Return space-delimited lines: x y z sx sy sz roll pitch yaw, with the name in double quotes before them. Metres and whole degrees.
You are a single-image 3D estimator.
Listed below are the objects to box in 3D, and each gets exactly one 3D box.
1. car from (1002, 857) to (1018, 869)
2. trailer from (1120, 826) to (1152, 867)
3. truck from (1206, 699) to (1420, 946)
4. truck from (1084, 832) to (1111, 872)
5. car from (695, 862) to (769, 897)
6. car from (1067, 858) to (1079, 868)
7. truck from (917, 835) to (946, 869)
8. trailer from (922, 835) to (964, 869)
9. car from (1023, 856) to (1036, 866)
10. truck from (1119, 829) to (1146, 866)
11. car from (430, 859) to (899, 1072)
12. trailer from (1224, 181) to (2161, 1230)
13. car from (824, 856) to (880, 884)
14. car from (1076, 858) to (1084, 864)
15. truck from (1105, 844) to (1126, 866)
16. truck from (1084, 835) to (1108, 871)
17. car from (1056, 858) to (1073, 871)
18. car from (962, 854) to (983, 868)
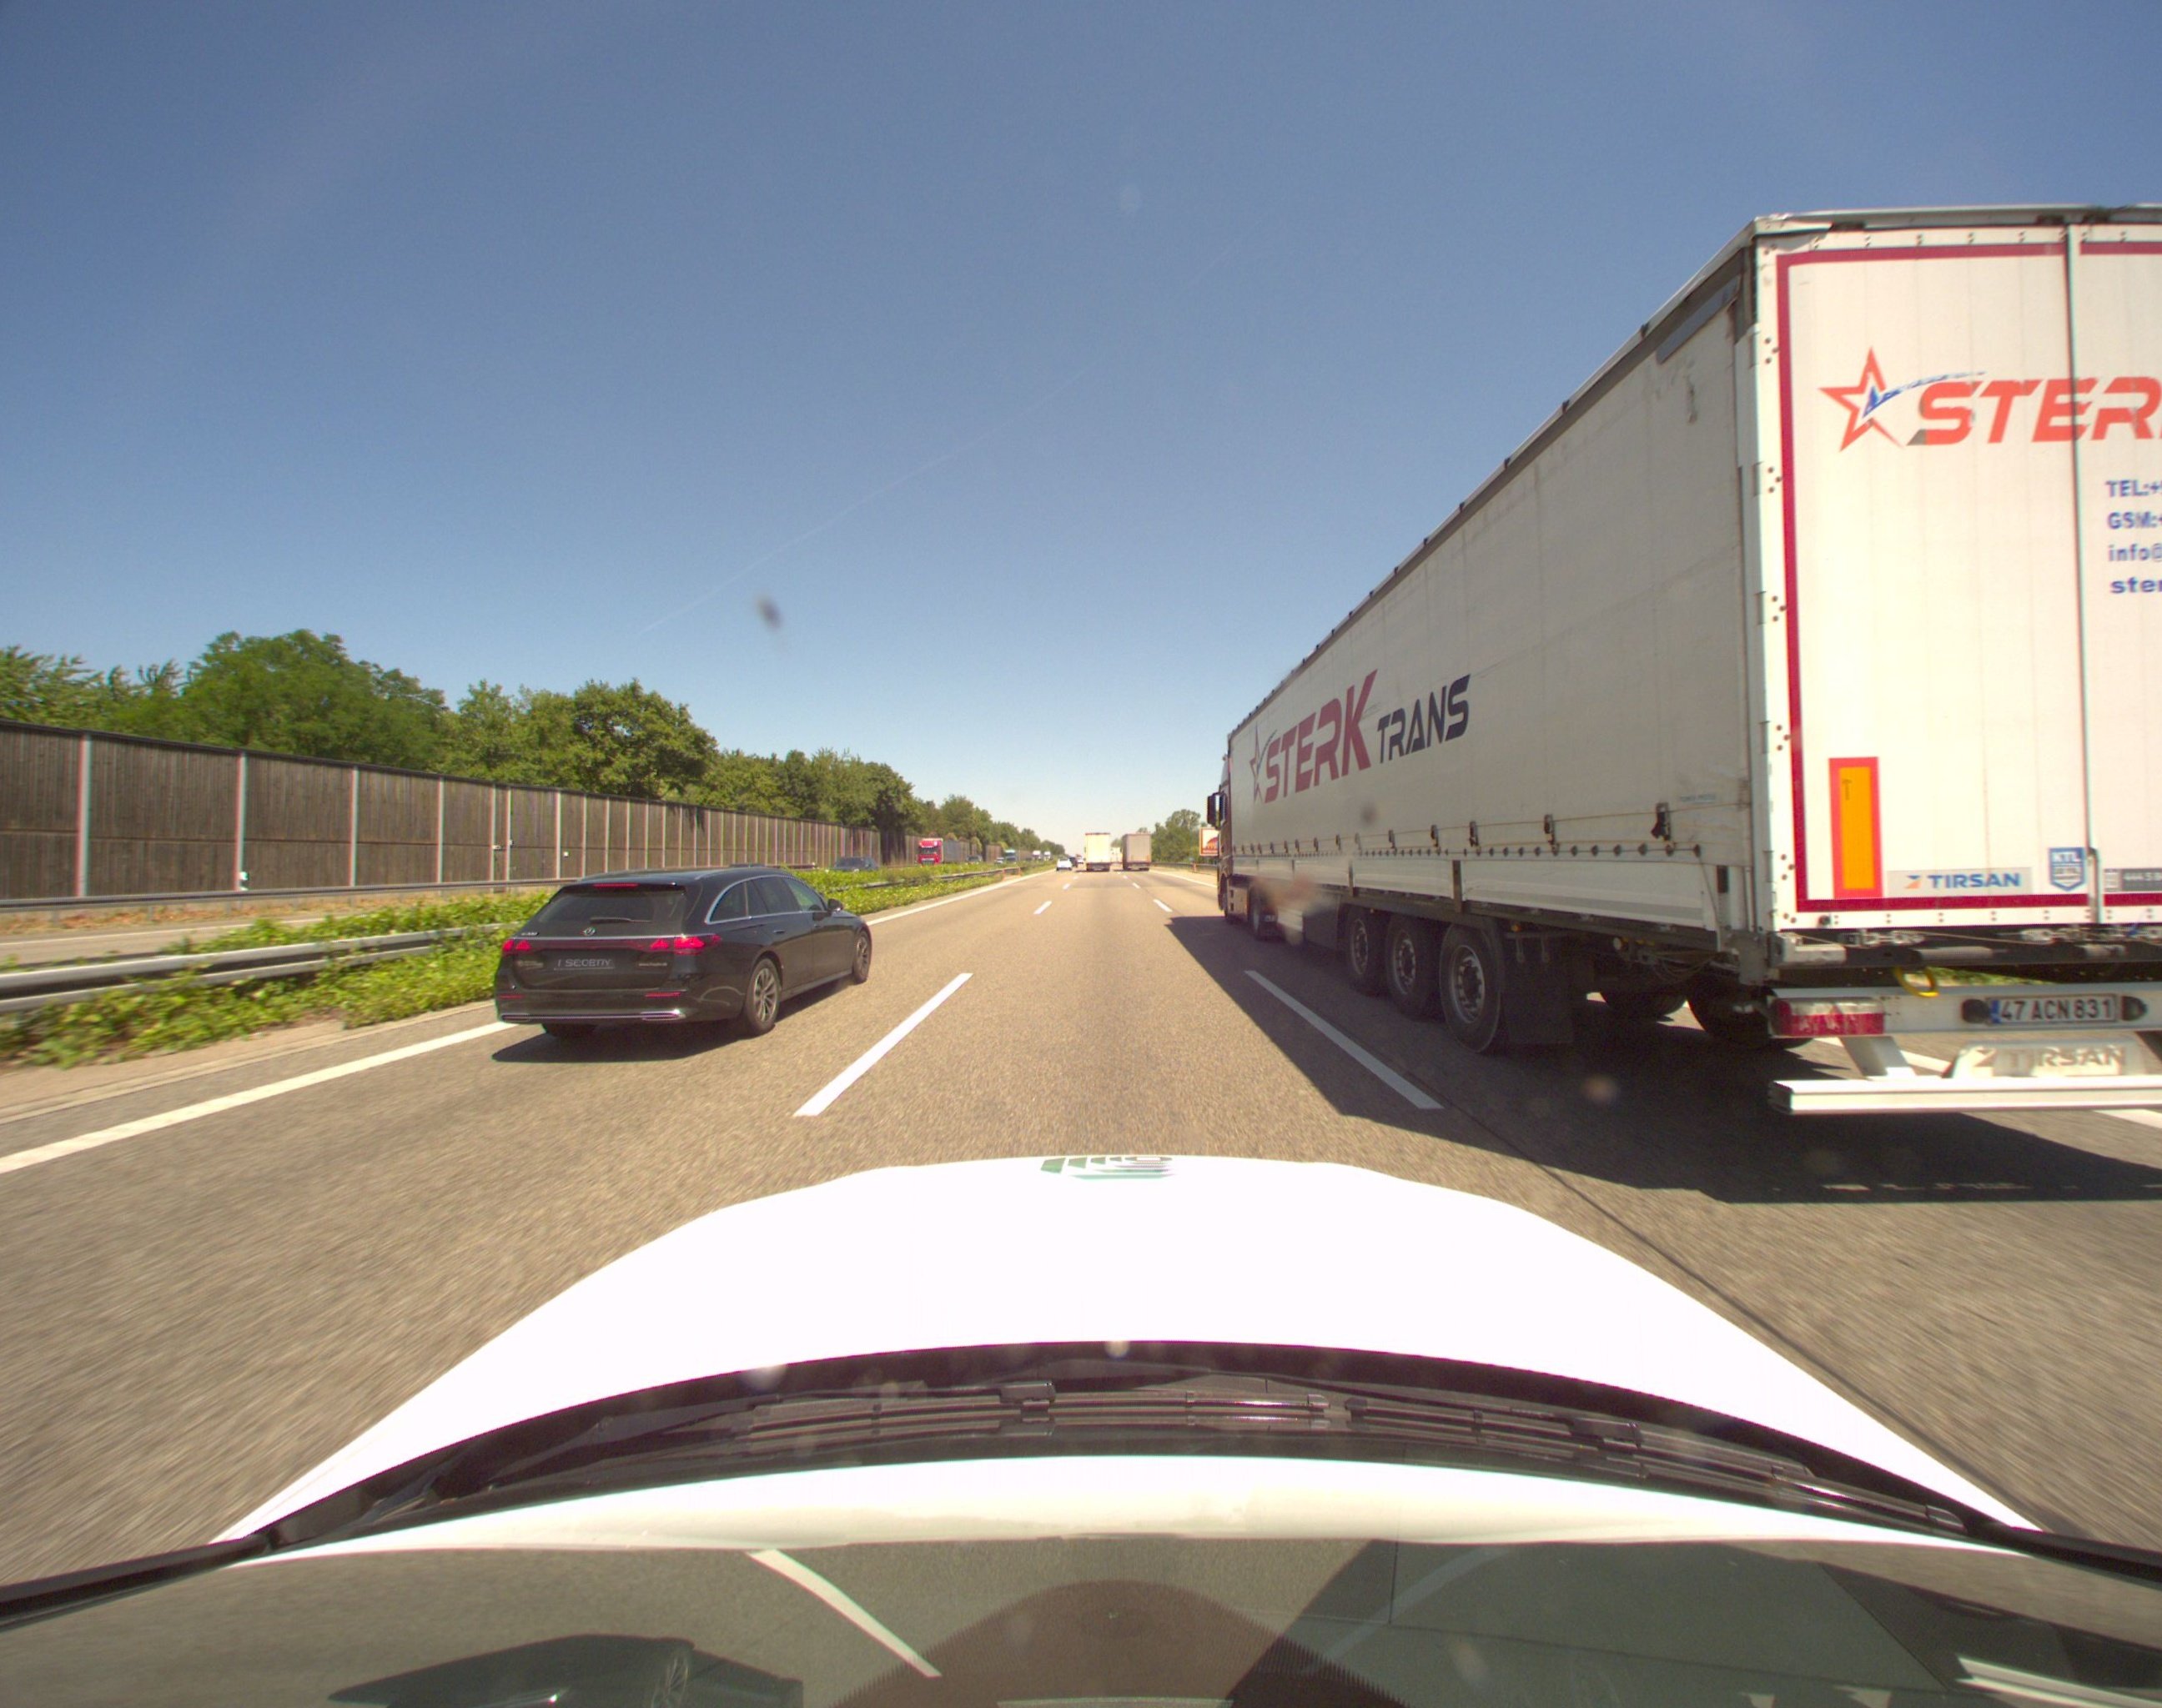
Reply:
"car" -10.686 1.314 122.197 1.987 1.720 4.245 0 -1 1
"trailer" 6.058 -0.727 91.565 2.694 4.216 13.209 0 -1 0
"truck" 4.383 -0.498 17.013 2.697 4.088 6.968 0 0 2
"truck" 1.724 -0.139 89.735 2.698 4.086 13.471 0 -1 0
"car" -17.039 1.213 40.023 1.807 1.600 4.001 -1 0 1
"car" -1.261 1.425 128.468 1.849 1.617 3.999 -1 0 0
"truck" -18.487 -0.237 100.897 2.477 4.087 4.680 -1 -1 2
"trailer" -18.169 -0.186 108.154 2.486 4.087 14.279 -1 -1 3
"car" -9.807 1.325 155.387 1.987 1.720 4.533 0 -1 1
"truck" 6.081 -0.685 97.269 2.682 4.216 7.837 0 -1 0
"car" -3.695 0.831 8.849 1.936 1.506 5.823 -1 0 2
"trailer" 4.177 -0.549 10.245 2.697 4.088 14.156 0 0 2
"car" -11.872 0.788 42.506 1.700 1.355 4.001 -1 0 1
"car" -0.342 1.713 206.030 1.850 1.617 3.997 -1 0 -2
"truck" 7.407 0.228 177.037 3.366 4.304 11.439 2 0 -2
"truck" 1.736 -0.070 95.710 2.719 4.086 7.276 0 -1 0
"car" -1.950 1.286 98.319 1.849 1.486 4.000 -1 0 0
"car" -14.748 0.990 110.814 1.986 1.816 5.220 0 -1 1
